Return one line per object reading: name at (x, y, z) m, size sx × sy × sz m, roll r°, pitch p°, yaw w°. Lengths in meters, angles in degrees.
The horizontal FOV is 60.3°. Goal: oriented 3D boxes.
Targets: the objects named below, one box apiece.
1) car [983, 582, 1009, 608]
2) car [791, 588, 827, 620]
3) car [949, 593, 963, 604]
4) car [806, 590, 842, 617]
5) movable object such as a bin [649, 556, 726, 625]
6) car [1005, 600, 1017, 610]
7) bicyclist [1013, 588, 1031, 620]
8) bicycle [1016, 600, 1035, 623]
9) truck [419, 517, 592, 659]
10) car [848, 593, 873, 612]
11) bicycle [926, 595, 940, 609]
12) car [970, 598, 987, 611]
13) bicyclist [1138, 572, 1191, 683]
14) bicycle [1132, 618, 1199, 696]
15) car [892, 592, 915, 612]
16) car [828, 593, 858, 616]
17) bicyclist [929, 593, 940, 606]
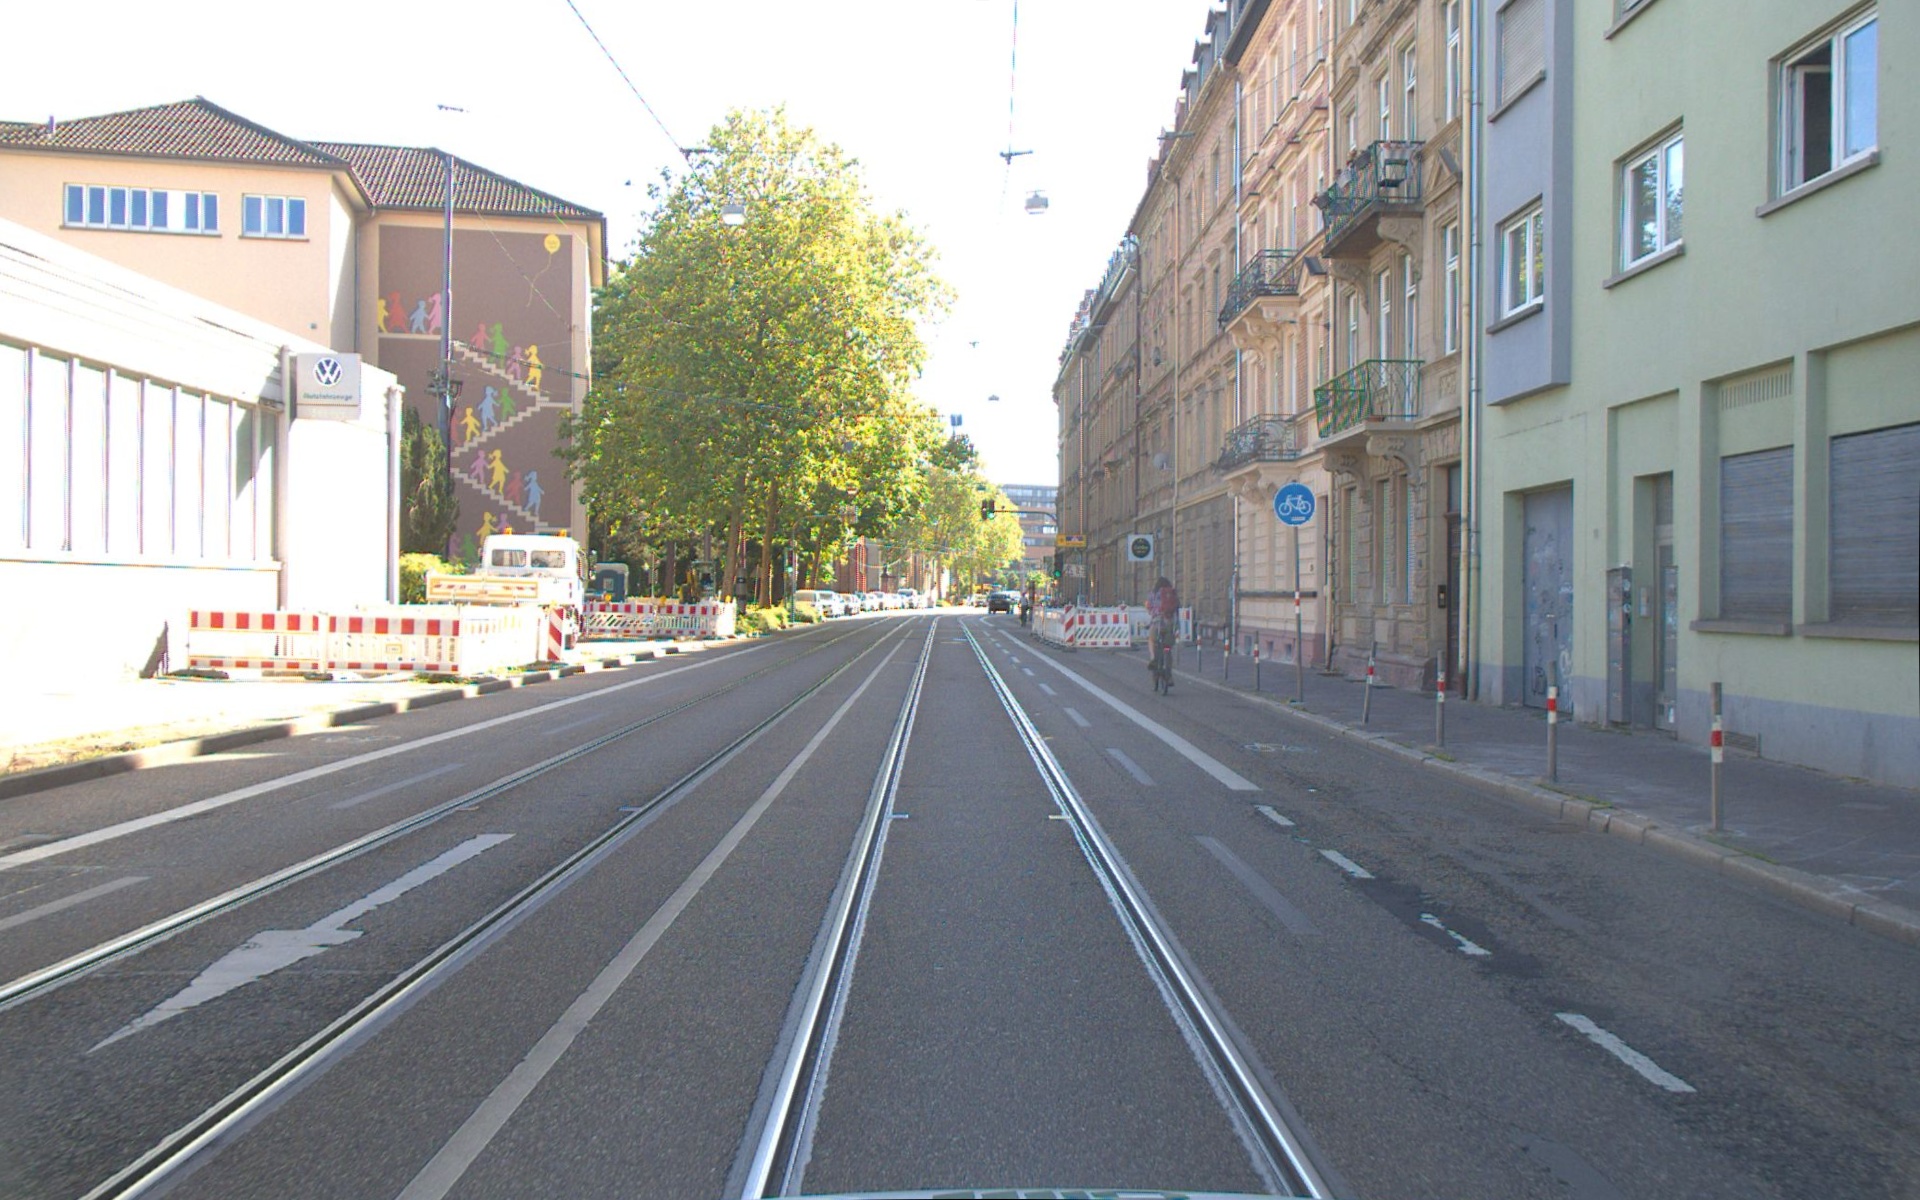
car at (2.969, -0.393, 136.771) m, size 1.953 × 2.049 × 4.000 m, roll 2°, pitch 0°, yaw 0°
car at (-8.435, 0.229, 92.570) m, size 1.513 × 1.687 × 3.763 m, roll 2°, pitch 0°, yaw 2°
car at (-0.630, -0.236, 256.669) m, size 1.712 × 1.653 × 4.045 m, roll 2°, pitch 0°, yaw 4°
car at (-8.463, 0.223, 103.076) m, size 1.712 × 1.636 × 4.044 m, roll 2°, pitch 0°, yaw 2°
movable object such as a bin at (-11.258, -0.384, 68.767) m, size 2.445 × 2.691 × 5.985 m, roll 2°, pitch 0°, yaw -3°
car at (8.048, 0.786, 260.065) m, size 1.712 × 1.447 × 4.045 m, roll 2°, pitch 0°, yaw 4°
bicyclist at (3.158, 0.204, 84.424) m, size 0.821 × 1.585 × 0.965 m, roll 2°, pitch -1°, yaw -1°
bicycle at (3.325, 0.585, 84.594) m, size 0.838 × 1.107 × 2.487 m, roll 2°, pitch 0°, yaw 0°
truck at (-10.172, -0.239, 37.660) m, size 2.488 × 2.879 × 6.370 m, roll 2°, pitch 0°, yaw -4°
car at (-8.536, 0.232, 141.570) m, size 1.712 × 1.521 × 4.044 m, roll 2°, pitch 0°, yaw 2°
bicycle at (-3.097, 0.205, 192.561) m, size 1.208 × 1.600 × 2.899 m, roll 2°, pitch 0°, yaw 7°
car at (2.257, 0.543, 200.466) m, size 1.712 × 1.447 × 4.045 m, roll 2°, pitch 0°, yaw 4°
bicyclist at (3.258, 0.433, 26.433) m, size 0.653 × 1.726 × 1.043 m, roll 2°, pitch -1°, yaw -1°
bicycle at (3.247, 0.880, 26.373) m, size 0.667 × 1.134 × 2.706 m, roll 2°, pitch 0°, yaw -1°
car at (-5.859, 0.221, 172.403) m, size 2.016 × 2.088 × 4.044 m, roll 2°, pitch 0°, yaw 2°
car at (-8.374, 0.313, 118.625) m, size 1.712 × 1.536 × 4.044 m, roll 2°, pitch 0°, yaw 2°
bicyclist at (-2.982, -0.031, 192.515) m, size 1.054 × 1.452 × 1.147 m, roll 2°, pitch -1°, yaw 8°
